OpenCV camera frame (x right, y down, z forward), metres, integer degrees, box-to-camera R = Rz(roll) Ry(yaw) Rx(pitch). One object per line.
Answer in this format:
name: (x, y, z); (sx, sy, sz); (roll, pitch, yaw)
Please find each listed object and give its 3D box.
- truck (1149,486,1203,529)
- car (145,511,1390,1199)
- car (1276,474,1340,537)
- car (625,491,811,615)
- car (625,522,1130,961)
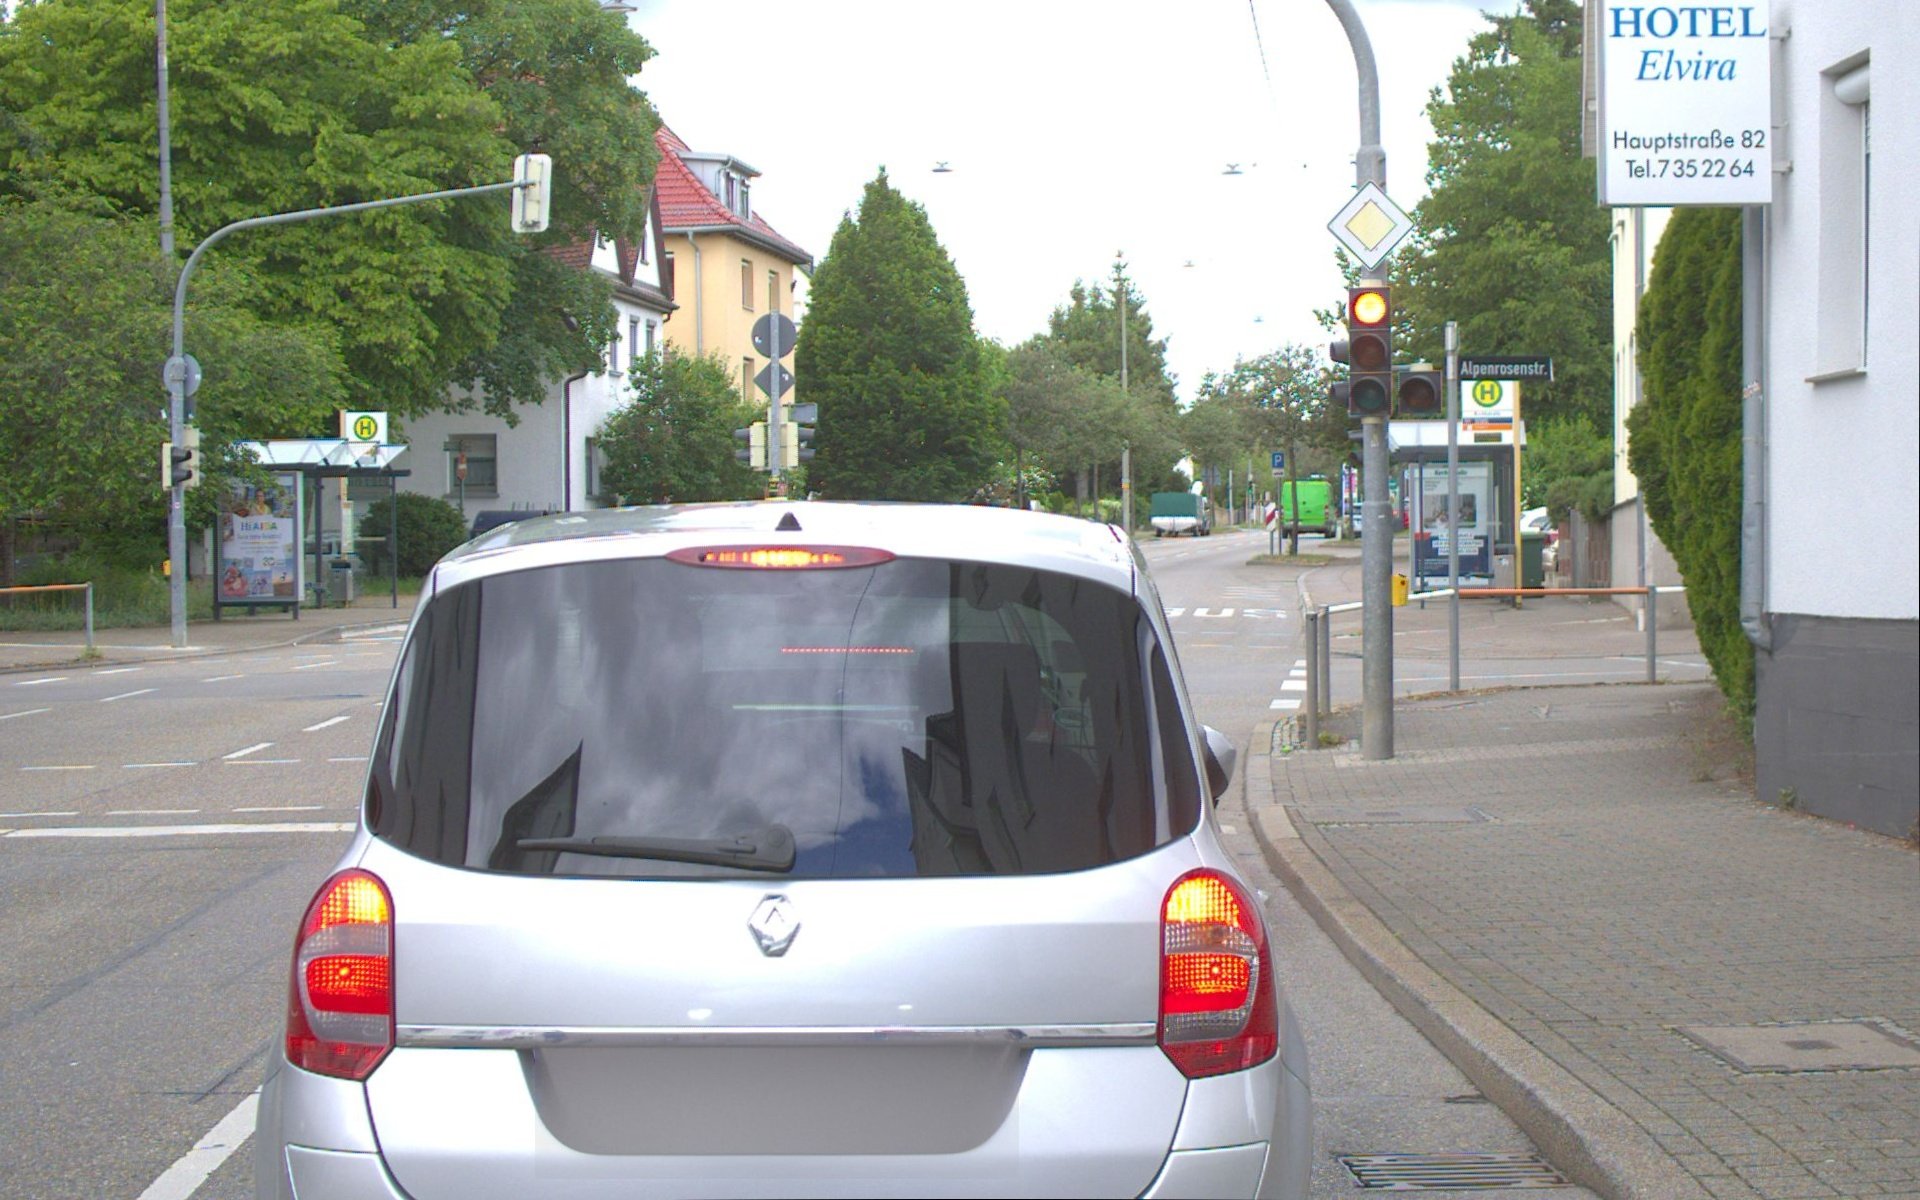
truck: (10.505, -4.466, 166.787); (2.102, 2.007, 5.745); (1, 1, 9)
car: (-0.309, 0.612, 6.872); (1.755, 1.525, 4.000); (0, 1, -1)
car: (14.265, -3.835, 140.548); (2.060, 2.503, 5.593); (1, 1, 11)
car: (-3.783, -0.769, 54.475); (1.927, 1.767, 3.999); (-4, 1, 10)
car: (-0.322, 0.467, 13.918); (1.755, 1.525, 3.797); (0, 1, -1)
